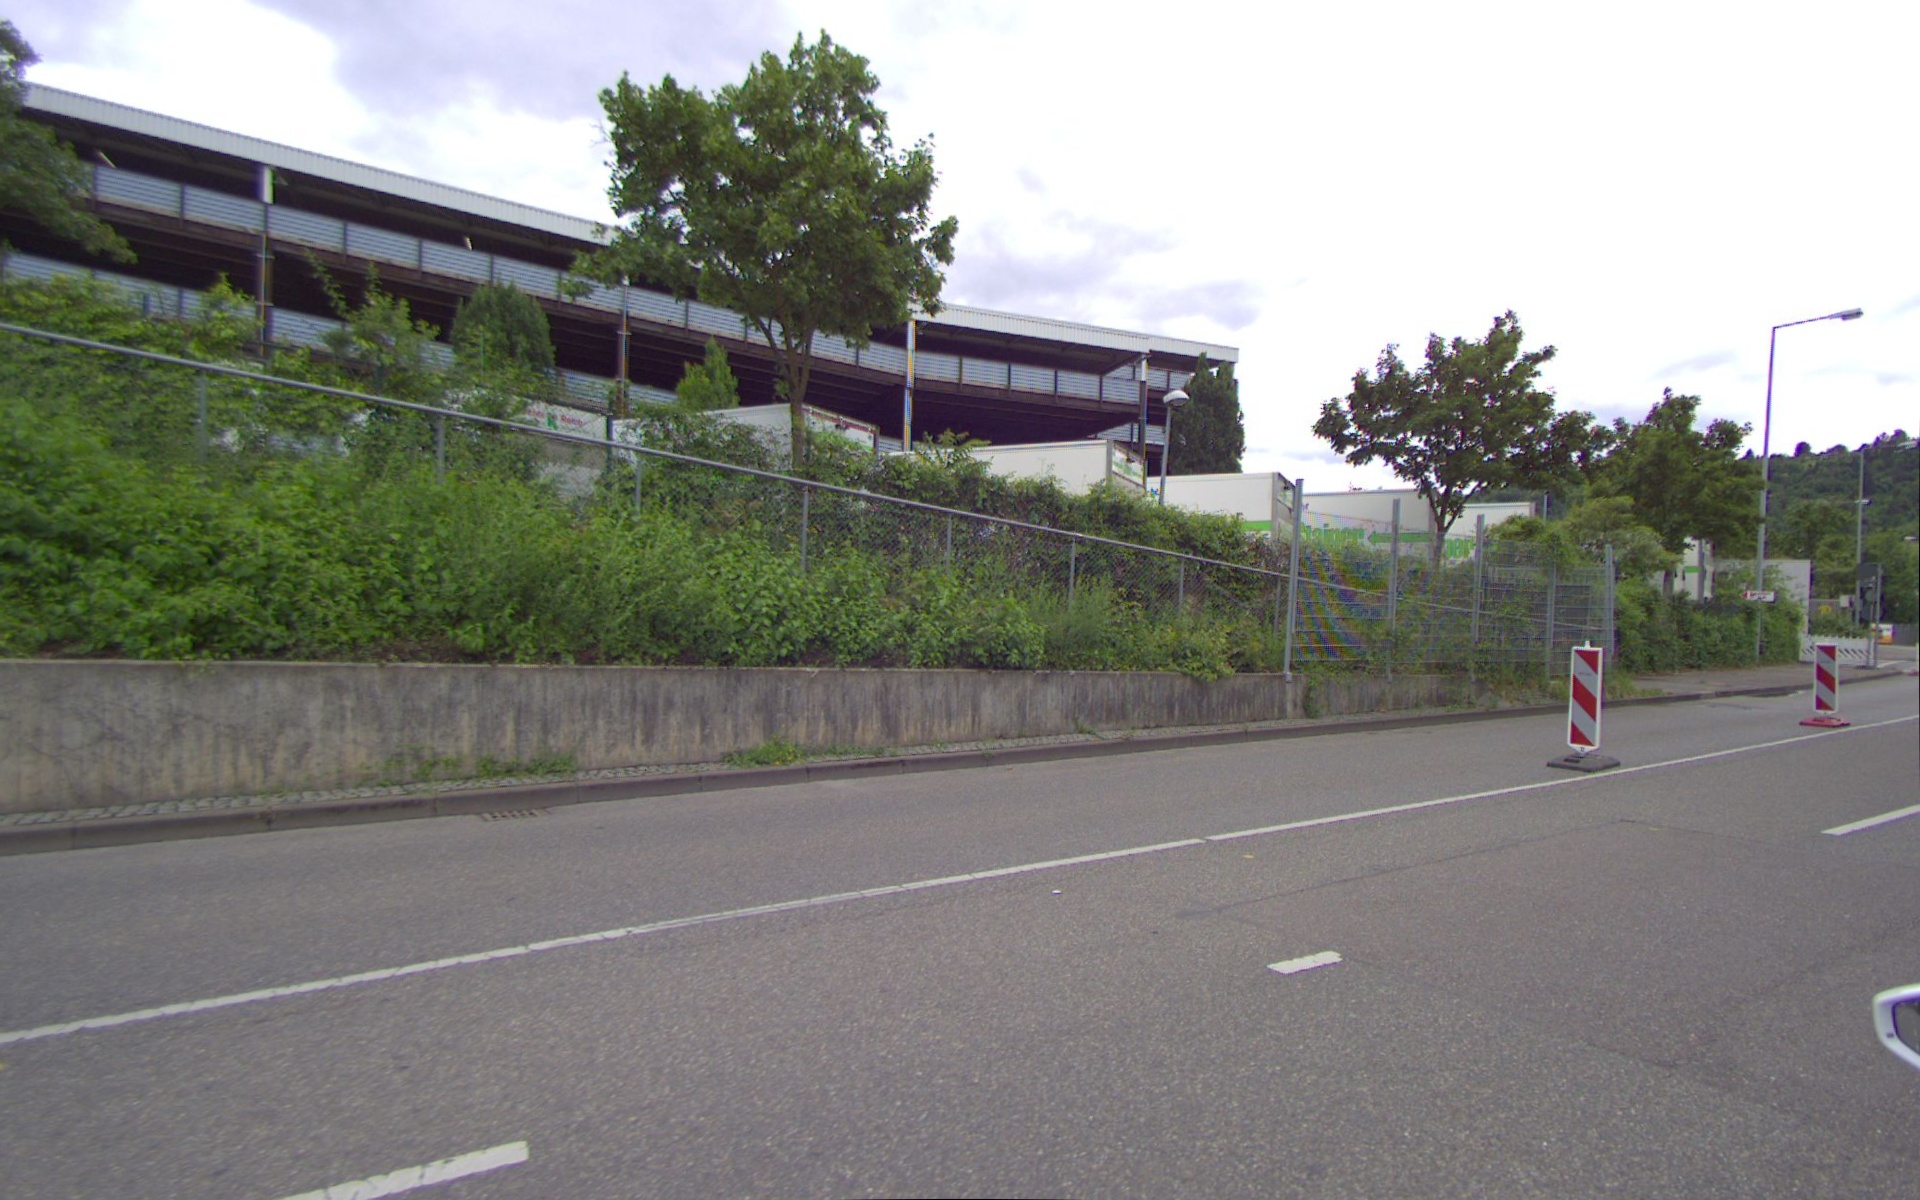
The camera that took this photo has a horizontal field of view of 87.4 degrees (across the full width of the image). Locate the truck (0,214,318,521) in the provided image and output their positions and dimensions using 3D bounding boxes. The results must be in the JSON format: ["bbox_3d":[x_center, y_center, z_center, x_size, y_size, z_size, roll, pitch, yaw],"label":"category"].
[{"bbox_3d":[-14.157,-3.237,15.958,7.721,3.584,3.049,3,-1,27],"label":"truck"}]

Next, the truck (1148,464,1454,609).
[{"bbox_3d":[9.688,-1.745,28.891,7.730,3.584,3.046,3,-1,32],"label":"truck"}]

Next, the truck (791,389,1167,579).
[{"bbox_3d":[0.345,-2.507,23.163,8.004,3.584,3.049,3,-1,27],"label":"truck"}]

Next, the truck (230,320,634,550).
[{"bbox_3d":[-10.540,-2.980,19.907,7.721,3.584,3.049,3,-1,27],"label":"truck"}]

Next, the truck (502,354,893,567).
[{"bbox_3d":[-5.587,-2.696,21.082,7.721,3.584,3.049,3,-1,27],"label":"truck"}]

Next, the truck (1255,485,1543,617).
[{"bbox_3d":[13.512,-1.504,31.212,7.724,3.584,3.048,3,-1,29],"label":"truck"}]

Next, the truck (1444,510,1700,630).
[{"bbox_3d":[23.084,-1.106,38.181,7.756,4.043,3.035,2,-1,43],"label":"truck"}]

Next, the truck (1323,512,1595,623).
[{"bbox_3d":[16.543,-1.114,33.674,7.724,3.292,3.048,3,-1,29],"label":"truck"}]

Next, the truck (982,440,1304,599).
[{"bbox_3d":[4.802,-2.044,26.665,7.721,3.584,3.049,3,-1,27],"label":"truck"}]

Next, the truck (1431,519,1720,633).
[{"bbox_3d":[24.814,-0.969,41.023,3.033,4.043,9.522,4,-1,-45],"label":"truck"}]
